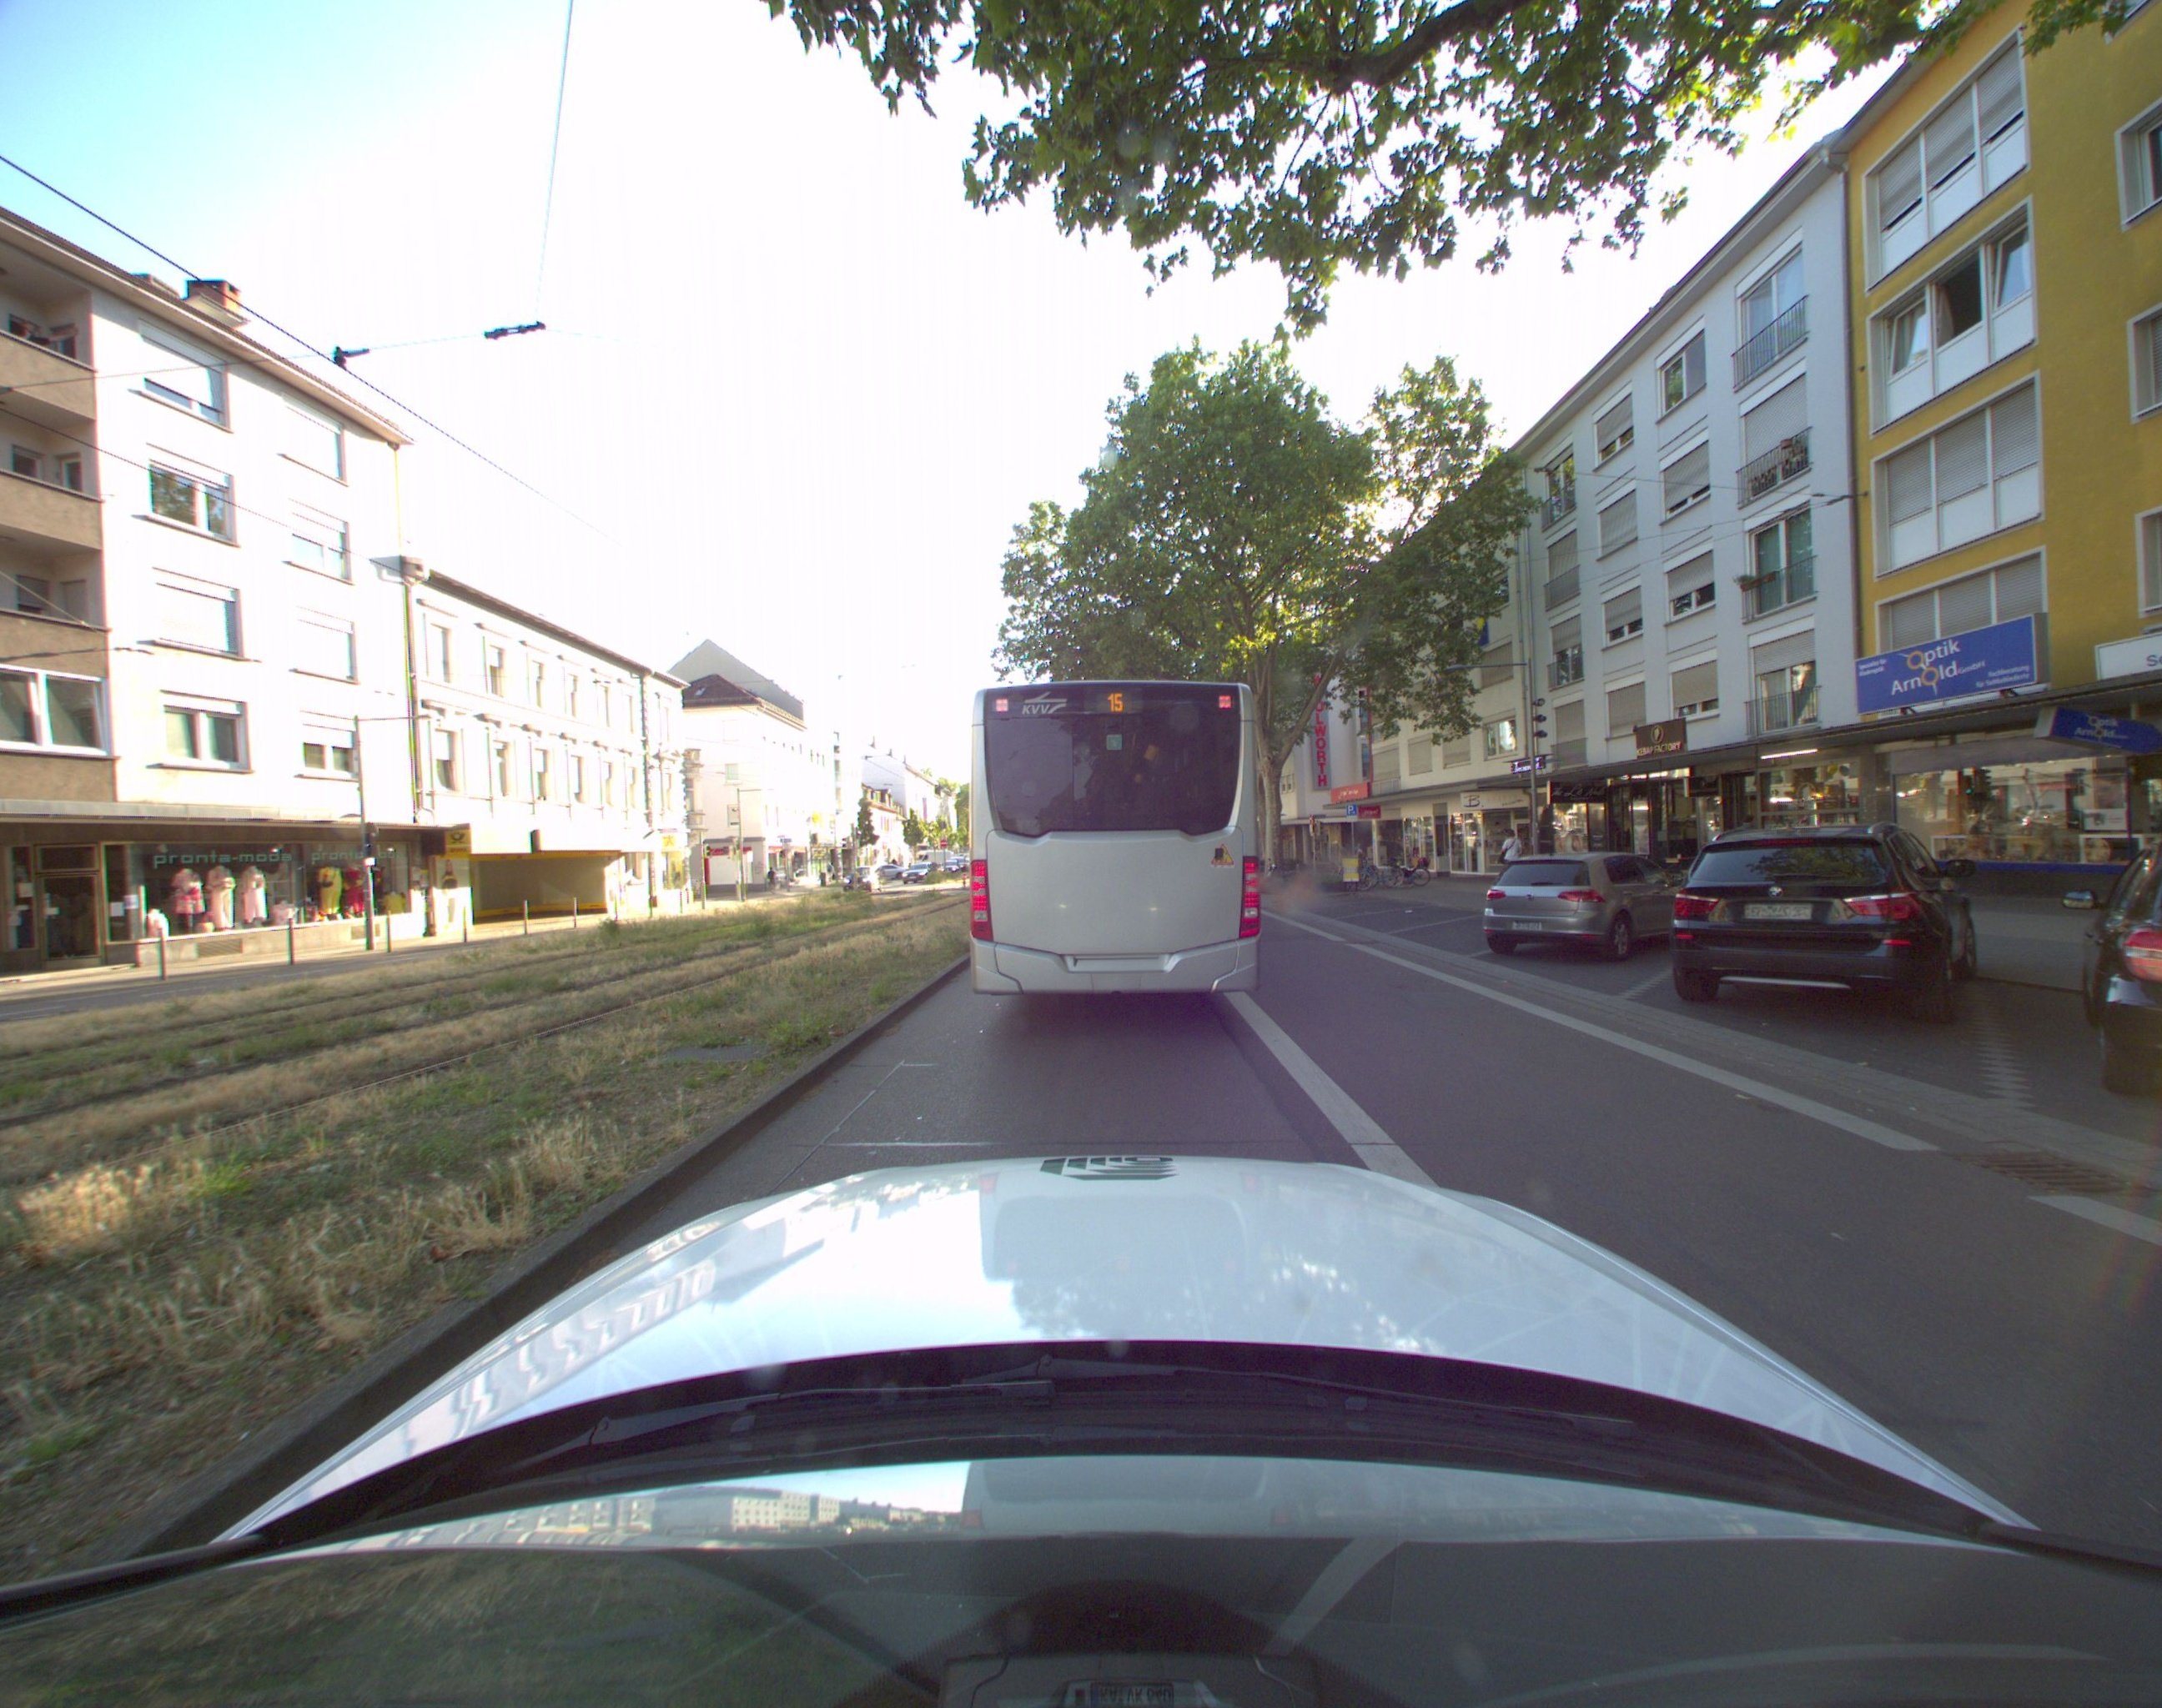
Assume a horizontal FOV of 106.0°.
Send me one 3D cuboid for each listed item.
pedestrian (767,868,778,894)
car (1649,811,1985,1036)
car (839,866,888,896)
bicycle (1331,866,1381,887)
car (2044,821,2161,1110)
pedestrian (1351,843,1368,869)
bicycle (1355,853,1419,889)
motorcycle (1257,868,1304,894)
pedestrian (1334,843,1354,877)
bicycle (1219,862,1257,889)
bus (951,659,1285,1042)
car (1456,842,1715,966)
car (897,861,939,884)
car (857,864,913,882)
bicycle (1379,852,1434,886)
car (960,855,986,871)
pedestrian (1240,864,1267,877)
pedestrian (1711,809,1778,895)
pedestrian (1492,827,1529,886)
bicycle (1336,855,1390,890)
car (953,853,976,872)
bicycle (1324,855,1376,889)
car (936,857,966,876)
[{"bbox_3d":[-20.938,1.845,55.232,0.423,1.713,0.509,-2,-1,6],"label":"pedestrian"},{"bbox_3d":[7.443,0.484,8.099,4.172,1.681,1.789,-2,-1,-39],"label":"car"},{"bbox_3d":[-12.896,1.577,48.421,1.715,1.509,3.479,-5,0,3],"label":"car"},{"bbox_3d":[11.505,0.942,34.079,1.864,0.765,0.713,-2,1,10],"label":"bicycle"},{"bbox_3d":[7.540,0.547,5.161,3.626,1.540,1.721,-2,-1,-39],"label":"car"},{"bbox_3d":[18.501,0.146,54.047,0.746,1.679,0.834,-2,2,-4],"label":"pedestrian"},{"bbox_3d":[11.494,0.620,30.616,2.069,1.233,0.833,-3,-1,6],"label":"bicycle"},{"bbox_3d":[7.326,0.990,29.991,1.565,0.892,0.544,-3,-1,-1],"label":"motorcycle"},{"bbox_3d":[14.112,0.337,43.782,0.777,1.794,0.764,-2,0,2],"label":"pedestrian"},{"bbox_3d":[6.617,0.900,34.325,1.503,1.105,0.460,1,0,2],"label":"bicycle"},{"bbox_3d":[0.487,-0.033,10.220,2.667,3.083,7.120,-1,0,3],"label":"bus"},{"bbox_3d":[7.601,0.629,12.140,4.196,1.451,1.790,-2,-1,-36],"label":"car"},{"bbox_3d":[-12.409,1.378,62.245,1.986,1.559,4.777,-2,0,2],"label":"car"},{"bbox_3d":[-18.078,1.763,75.049,4.571,1.412,1.978,-2,0,-35],"label":"car"},{"bbox_3d":[12.364,0.566,30.983,1.753,1.154,0.680,-4,-1,10],"label":"bicycle"},{"bbox_3d":[-11.196,0.917,84.878,1.772,1.615,4.513,1,0,4],"label":"car"},{"bbox_3d":[8.661,0.840,40.882,1.250,0.589,0.482,-3,0,0],"label":"pedestrian"},{"bbox_3d":[14.607,-0.041,17.946,0.703,1.791,0.789,-6,-1,8],"label":"pedestrian"},{"bbox_3d":[14.068,0.090,26.684,0.643,1.876,0.821,-2,-1,-11],"label":"pedestrian"},{"bbox_3d":[11.106,0.717,32.095,1.783,1.189,0.671,-5,-1,-7],"label":"bicycle"},{"bbox_3d":[-13.100,0.902,92.074,1.988,2.013,3.998,-2,0,-1],"label":"car"},{"bbox_3d":[10.920,0.717,33.104,1.864,1.189,0.713,-5,-1,10],"label":"bicycle"},{"bbox_3d":[-12.155,1.160,76.393,1.773,1.450,4.049,-4,1,4],"label":"car"}]
